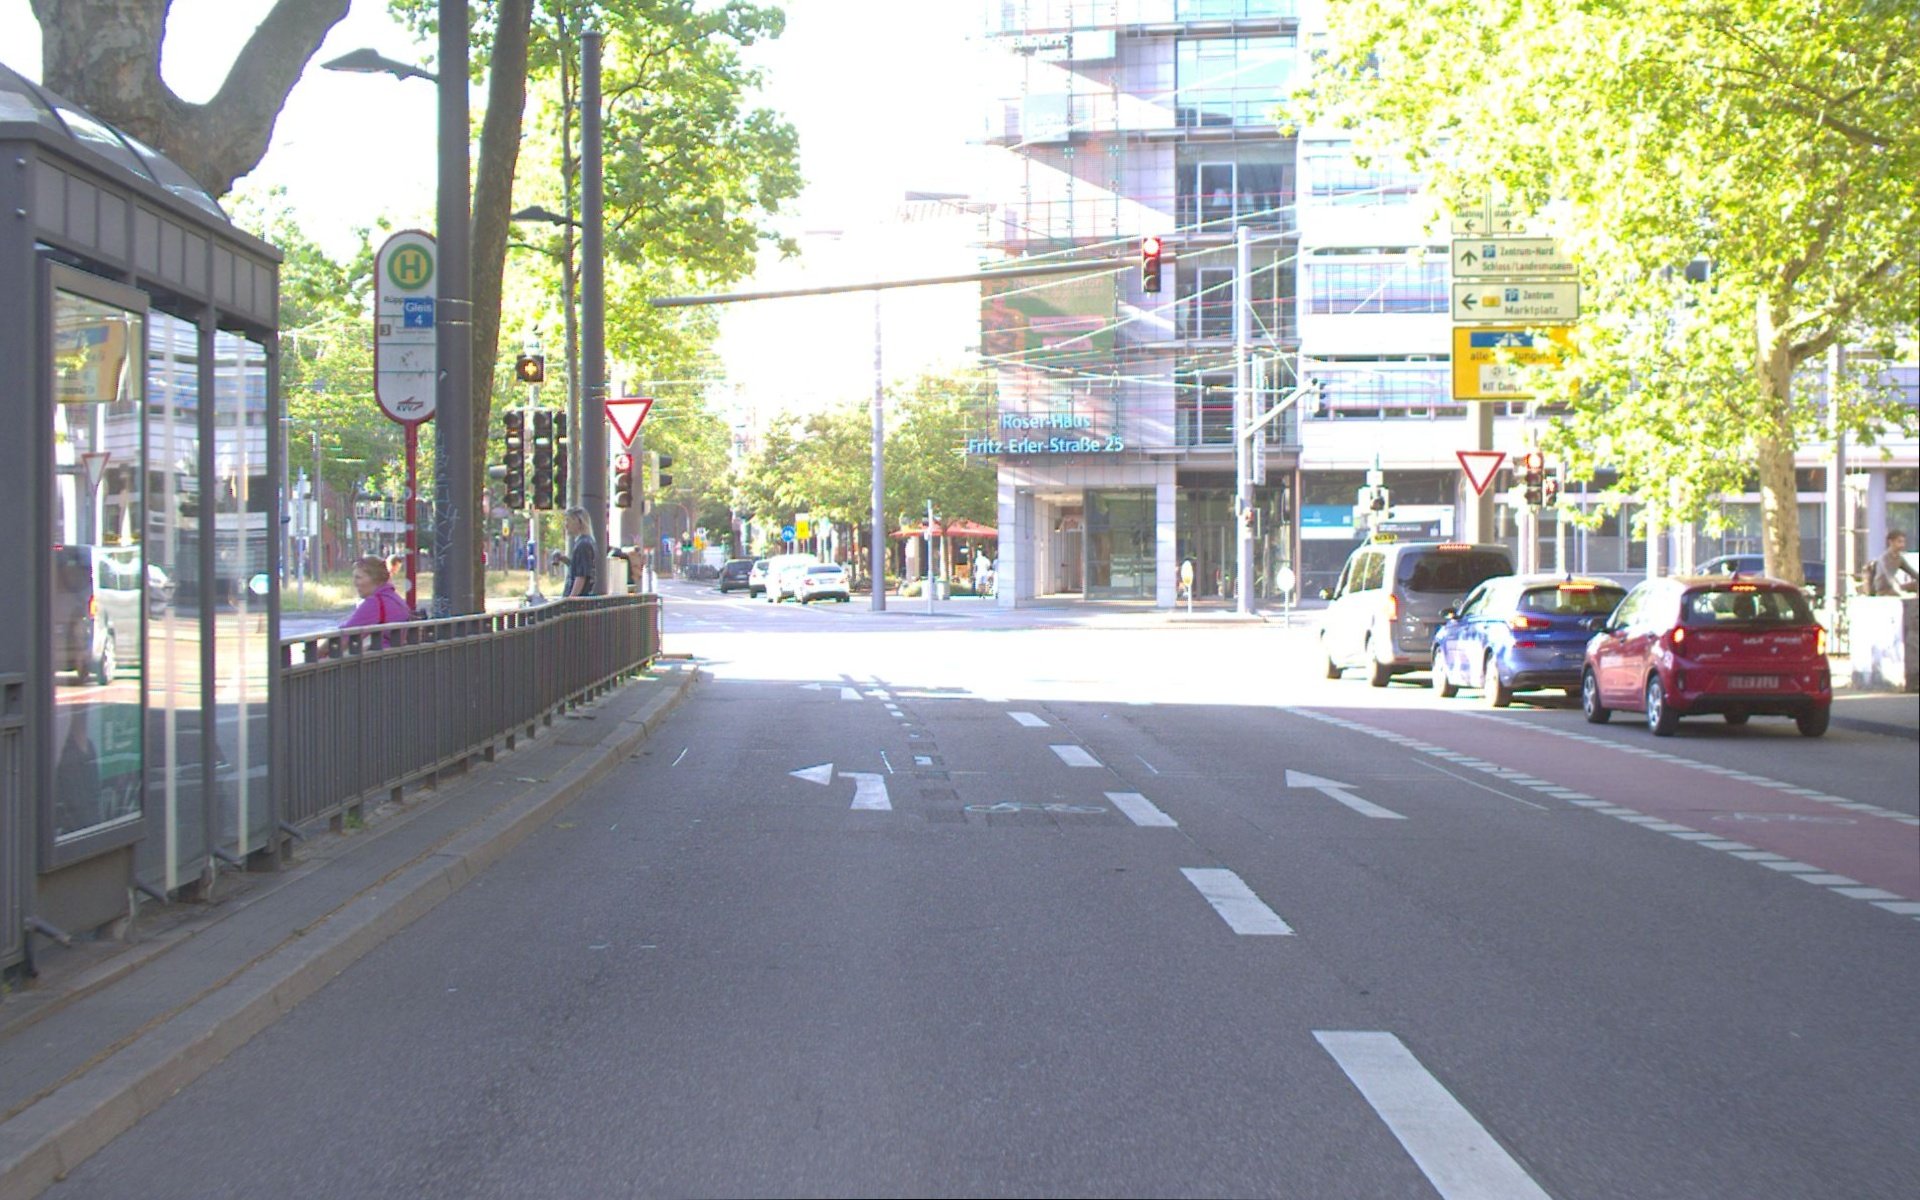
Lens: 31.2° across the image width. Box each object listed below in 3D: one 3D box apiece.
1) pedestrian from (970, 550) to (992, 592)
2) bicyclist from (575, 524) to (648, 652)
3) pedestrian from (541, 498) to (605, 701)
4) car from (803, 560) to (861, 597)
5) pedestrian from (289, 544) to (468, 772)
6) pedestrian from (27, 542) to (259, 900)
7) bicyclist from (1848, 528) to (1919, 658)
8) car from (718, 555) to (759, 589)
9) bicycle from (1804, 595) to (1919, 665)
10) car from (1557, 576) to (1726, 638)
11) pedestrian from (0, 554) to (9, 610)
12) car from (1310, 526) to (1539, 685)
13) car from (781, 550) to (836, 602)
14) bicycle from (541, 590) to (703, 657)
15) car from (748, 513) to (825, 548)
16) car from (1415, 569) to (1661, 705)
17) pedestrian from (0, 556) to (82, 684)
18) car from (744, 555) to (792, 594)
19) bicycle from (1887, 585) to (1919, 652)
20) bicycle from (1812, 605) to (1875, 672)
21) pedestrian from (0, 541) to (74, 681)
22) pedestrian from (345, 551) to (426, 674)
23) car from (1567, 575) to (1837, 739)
[{"bbox_3d":[0.745,-1.022,121.806,0.739,1.460,0.537,-1,0,-5],"label":"pedestrian"},{"bbox_3d":[-4.890,-0.175,48.269,0.849,1.779,0.753,-1,1,-20],"label":"bicyclist"},{"bbox_3d":[-3.680,-0.004,32.712,0.509,1.894,0.760,1,0,-3],"label":"pedestrian"},{"bbox_3d":[-4.730,-0.802,126.684,1.993,1.327,4.001,0,1,-4],"label":"car"},{"bbox_3d":[-3.671,0.364,21.765,0.977,1.395,0.664,1,0,1],"label":"pedestrian"},{"bbox_3d":[-3.260,0.472,13.767,0.734,1.383,0.640,1,0,1],"label":"pedestrian"},{"bbox_3d":[12.720,-0.100,47.042,0.851,1.761,0.751,0,1,41],"label":"bicyclist"},{"bbox_3d":[-10.989,-1.397,170.238,1.993,1.656,4.001,0,1,-4],"label":"car"},{"bbox_3d":[12.703,0.402,47.061,2.182,0.930,0.666,1,1,41],"label":"bicycle"},{"bbox_3d":[18.307,0.181,92.439,4.241,1.596,1.795,0,1,3],"label":"car"},{"bbox_3d":[-28.418,-0.520,101.572,0.536,1.644,0.626,-1,1,-23],"label":"pedestrian"},{"bbox_3d":[6.122,0.036,45.929,1.993,1.959,5.138,1,1,-4],"label":"car"},{"bbox_3d":[-5.897,-0.944,133.554,1.993,1.985,4.001,0,1,-4],"label":"car"},{"bbox_3d":[-4.750,0.326,48.337,2.176,0.930,0.668,0,1,-19],"label":"bicycle"},{"bbox_3d":[-9.253,-3.712,183.802,3.763,1.744,1.781,1,0,11],"label":"car"},{"bbox_3d":[6.552,0.382,39.397,1.764,1.459,4.218,0,1,-5],"label":"car"},{"bbox_3d":[-12.286,0.261,45.776,1.072,1.676,0.758,1,0,-11],"label":"pedestrian"},{"bbox_3d":[-8.311,-1.100,148.655,1.993,1.656,4.001,0,1,-4],"label":"car"},{"bbox_3d":[14.423,0.271,51.674,0.450,0.979,1.477,0,1,-5],"label":"bicycle"},{"bbox_3d":[13.206,0.570,51.415,0.420,0.975,1.477,0,1,-5],"label":"bicycle"},{"bbox_3d":[-12.572,0.150,46.491,1.073,1.865,0.739,1,0,-11],"label":"pedestrian"},{"bbox_3d":[-8.135,0.178,48.716,1.073,1.709,0.628,1,0,-7],"label":"pedestrian"},{"bbox_3d":[7.043,0.505,32.957,1.558,1.459,3.622,1,1,-4],"label":"car"}]
